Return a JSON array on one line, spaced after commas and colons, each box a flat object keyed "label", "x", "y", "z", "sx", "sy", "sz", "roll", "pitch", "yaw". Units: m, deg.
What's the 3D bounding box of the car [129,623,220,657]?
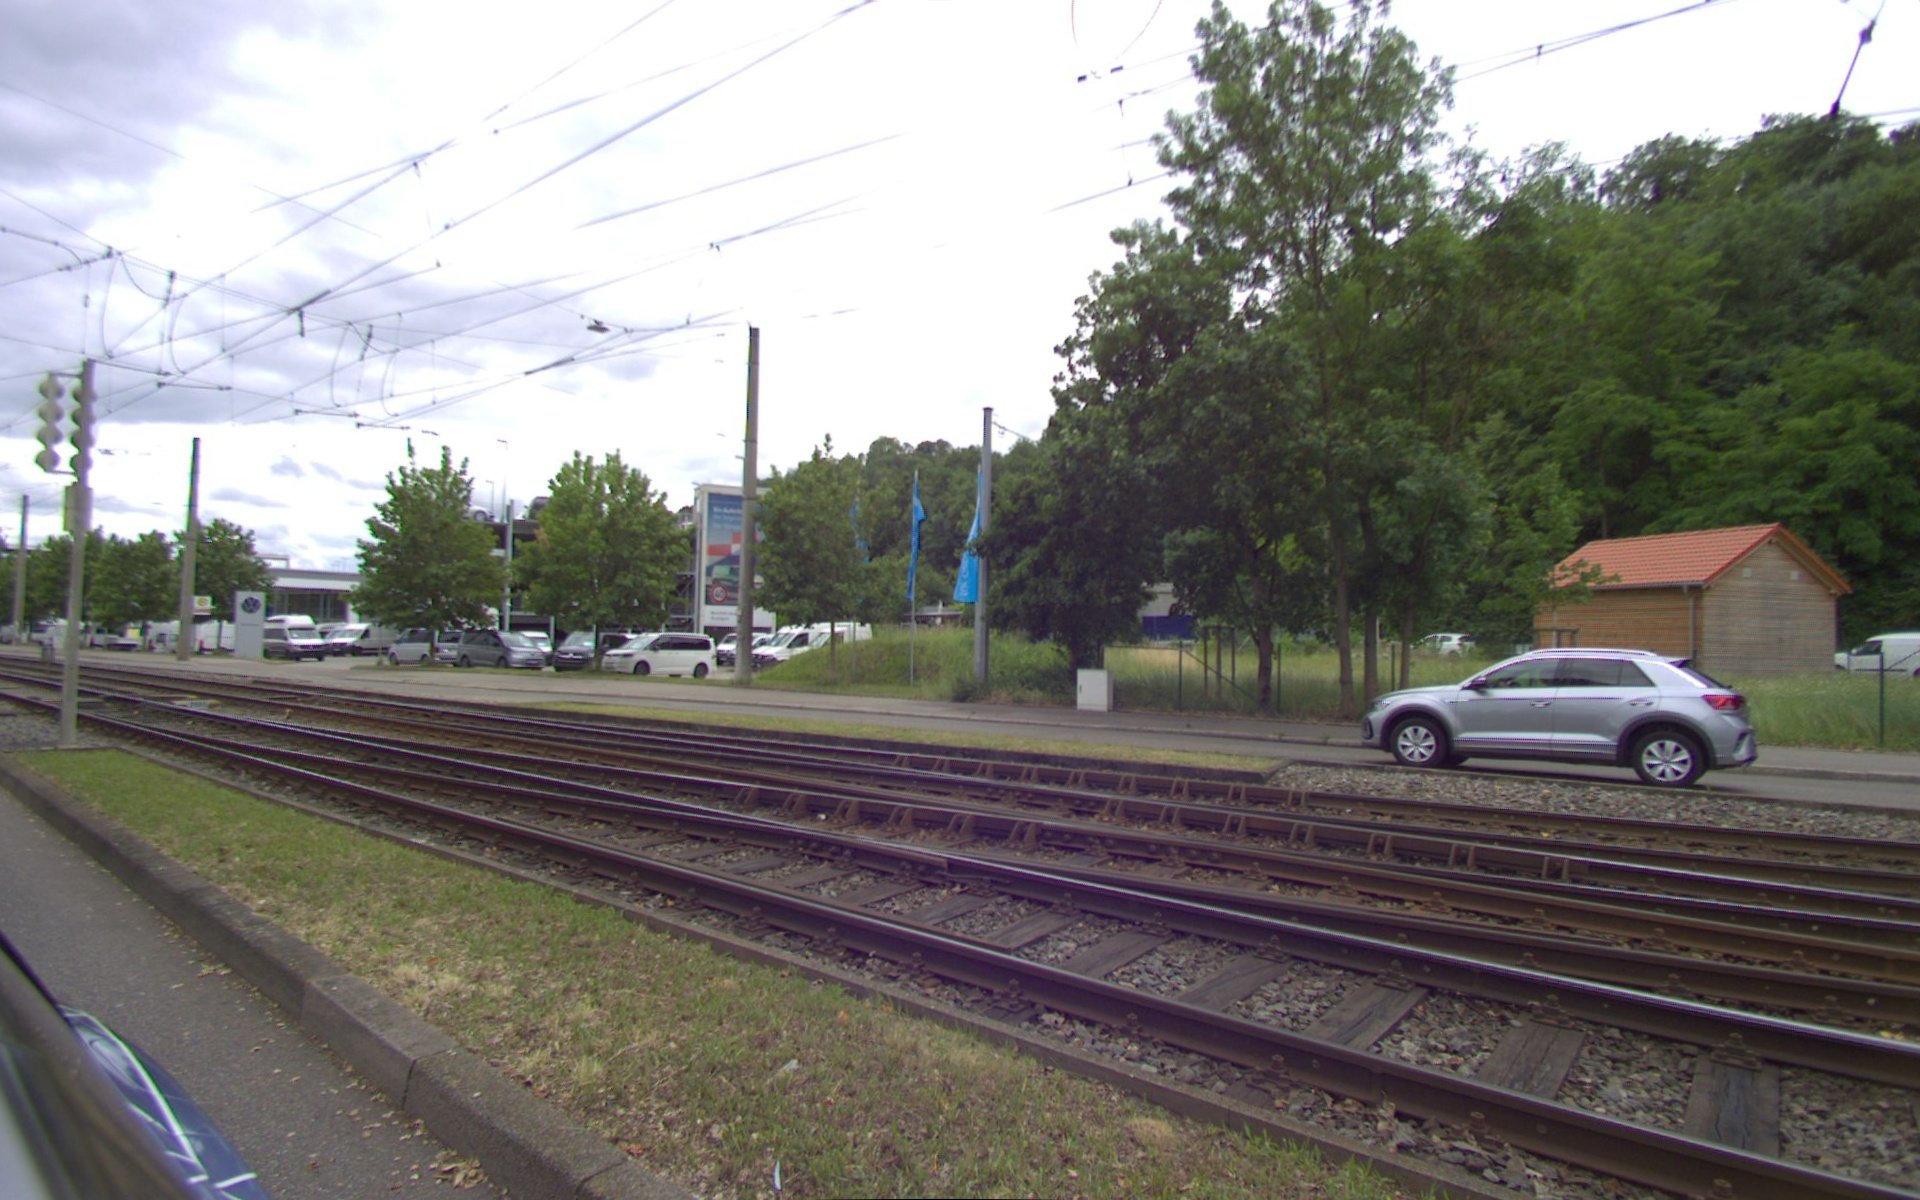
[{"label": "car", "x": -54.940, "y": 2.749, "z": 70.833, "sx": 2.102, "sy": 2.225, "sz": 4.589, "roll": -1, "pitch": 0, "yaw": 32}]

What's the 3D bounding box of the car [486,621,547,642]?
[{"label": "car", "x": -41.798, "y": 2.967, "z": 95.402, "sx": 5.138, "sy": 1.850, "sz": 1.986, "roll": -1, "pitch": 0, "yaw": -29}]

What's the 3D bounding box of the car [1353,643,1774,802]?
[{"label": "car", "x": 7.299, "y": 1.353, "z": 12.467, "sx": 4.175, "sy": 1.590, "sz": 1.973, "roll": -2, "pitch": -4, "yaw": 41}]

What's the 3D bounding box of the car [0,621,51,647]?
[{"label": "car", "x": -85.610, "y": 3.060, "z": 91.544, "sx": 2.102, "sy": 2.225, "sz": 4.589, "roll": -1, "pitch": 0, "yaw": 32}]

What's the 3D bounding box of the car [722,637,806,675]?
[{"label": "car", "x": -10.908, "y": 3.059, "z": 56.272, "sx": 4.165, "sy": 1.850, "sz": 1.986, "roll": -1, "pitch": 0, "yaw": -31}]

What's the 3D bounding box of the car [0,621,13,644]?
[{"label": "car", "x": -94.065, "y": 3.169, "z": 96.885, "sx": 2.102, "sy": 2.225, "sz": 4.589, "roll": -1, "pitch": 0, "yaw": 32}]

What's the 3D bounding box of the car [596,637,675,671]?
[{"label": "car", "x": -19.417, "y": 3.203, "z": 60.634, "sx": 4.165, "sy": 1.850, "sz": 1.986, "roll": -1, "pitch": 0, "yaw": -31}]

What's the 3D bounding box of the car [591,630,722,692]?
[{"label": "car", "x": -12.837, "y": 2.520, "z": 43.119, "sx": 1.997, "sy": 2.284, "sz": 5.206, "roll": -1, "pitch": 0, "yaw": 37}]

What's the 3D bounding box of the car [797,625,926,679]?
[{"label": "car", "x": -4.690, "y": 2.413, "z": 48.381, "sx": 5.762, "sy": 2.284, "sz": 2.060, "roll": -1, "pitch": 0, "yaw": -28}]

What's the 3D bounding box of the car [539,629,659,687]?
[{"label": "car", "x": -15.988, "y": 2.525, "z": 45.066, "sx": 1.977, "sy": 2.284, "sz": 4.717, "roll": -1, "pitch": 0, "yaw": 37}]

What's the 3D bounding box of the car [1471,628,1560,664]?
[{"label": "car", "x": 28.189, "y": 2.302, "z": 51.442, "sx": 1.727, "sy": 1.625, "sz": 3.693, "roll": -1, "pitch": 0, "yaw": -22}]

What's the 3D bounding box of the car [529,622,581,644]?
[{"label": "car", "x": -36.887, "y": 2.953, "z": 92.259, "sx": 4.164, "sy": 1.850, "sz": 1.986, "roll": -1, "pitch": 0, "yaw": -29}]

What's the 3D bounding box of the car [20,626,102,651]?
[{"label": "car", "x": -73.585, "y": 3.092, "z": 82.893, "sx": 2.102, "sy": 1.854, "sz": 4.589, "roll": -1, "pitch": 0, "yaw": 32}]

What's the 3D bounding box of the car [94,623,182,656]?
[{"label": "car", "x": -59.490, "y": 2.806, "z": 73.315, "sx": 2.102, "sy": 2.225, "sz": 4.589, "roll": -1, "pitch": 0, "yaw": 32}]

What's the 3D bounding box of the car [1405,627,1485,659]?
[{"label": "car", "x": 26.494, "y": 2.323, "z": 55.398, "sx": 1.727, "sy": 1.625, "sz": 3.693, "roll": -1, "pitch": 0, "yaw": -25}]

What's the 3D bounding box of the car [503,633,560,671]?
[{"label": "car", "x": -24.506, "y": 2.924, "z": 57.831, "sx": 1.872, "sy": 1.907, "sz": 4.606, "roll": -1, "pitch": 0, "yaw": -38}]

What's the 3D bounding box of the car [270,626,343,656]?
[{"label": "car", "x": -53.649, "y": 3.308, "z": 83.146, "sx": 2.107, "sy": 2.225, "sz": 4.579, "roll": -1, "pitch": 0, "yaw": 39}]

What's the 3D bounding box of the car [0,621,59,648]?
[{"label": "car", "x": -83.587, "y": 3.034, "z": 90.169, "sx": 2.102, "sy": 2.225, "sz": 4.589, "roll": -1, "pitch": 0, "yaw": 32}]

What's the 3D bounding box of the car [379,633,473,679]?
[{"label": "car", "x": -27.041, "y": 2.769, "z": 51.223, "sx": 4.761, "sy": 2.132, "sz": 2.119, "roll": -1, "pitch": 0, "yaw": 32}]

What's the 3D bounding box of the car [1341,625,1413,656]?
[{"label": "car", "x": 24.483, "y": 2.349, "z": 59.469, "sx": 1.727, "sy": 1.625, "sz": 3.693, "roll": -1, "pitch": 0, "yaw": -25}]

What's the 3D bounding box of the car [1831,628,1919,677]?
[{"label": "car", "x": 34.190, "y": 1.870, "z": 36.540, "sx": 1.877, "sy": 1.625, "sz": 3.693, "roll": -1, "pitch": 0, "yaw": -22}]

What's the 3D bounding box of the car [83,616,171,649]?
[{"label": "car", "x": -61.471, "y": 2.379, "z": 74.764, "sx": 2.102, "sy": 2.225, "sz": 4.589, "roll": -1, "pitch": 0, "yaw": 32}]

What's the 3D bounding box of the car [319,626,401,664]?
[{"label": "car", "x": -46.464, "y": 3.425, "z": 78.542, "sx": 2.293, "sy": 2.642, "sz": 6.036, "roll": -1, "pitch": 0, "yaw": 6}]

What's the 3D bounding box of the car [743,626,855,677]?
[{"label": "car", "x": -8.610, "y": 2.715, "z": 54.323, "sx": 5.568, "sy": 2.479, "sz": 1.986, "roll": -1, "pitch": 0, "yaw": -31}]

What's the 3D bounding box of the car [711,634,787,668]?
[{"label": "car", "x": -12.971, "y": 3.083, "z": 62.234, "sx": 4.165, "sy": 1.850, "sz": 1.986, "roll": -1, "pitch": 0, "yaw": -31}]

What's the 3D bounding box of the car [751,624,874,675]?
[{"label": "car", "x": -7.408, "y": 2.447, "z": 51.050, "sx": 5.751, "sy": 2.284, "sz": 2.060, "roll": -1, "pitch": 0, "yaw": -28}]

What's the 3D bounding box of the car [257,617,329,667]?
[{"label": "car", "x": -43.170, "y": 2.651, "z": 65.434, "sx": 6.154, "sy": 3.034, "sz": 2.291, "roll": -1, "pitch": 0, "yaw": 40}]

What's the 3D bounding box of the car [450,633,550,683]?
[{"label": "car", "x": -21.776, "y": 2.698, "z": 47.812, "sx": 4.763, "sy": 2.132, "sz": 2.118, "roll": -1, "pitch": 0, "yaw": 34}]

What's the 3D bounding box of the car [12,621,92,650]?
[{"label": "car", "x": -75.555, "y": 2.931, "z": 84.292, "sx": 2.102, "sy": 2.225, "sz": 4.589, "roll": -1, "pitch": 0, "yaw": 32}]

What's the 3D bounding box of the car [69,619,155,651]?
[{"label": "car", "x": -63.849, "y": 2.608, "z": 76.248, "sx": 2.102, "sy": 2.225, "sz": 4.589, "roll": -1, "pitch": 0, "yaw": 32}]
